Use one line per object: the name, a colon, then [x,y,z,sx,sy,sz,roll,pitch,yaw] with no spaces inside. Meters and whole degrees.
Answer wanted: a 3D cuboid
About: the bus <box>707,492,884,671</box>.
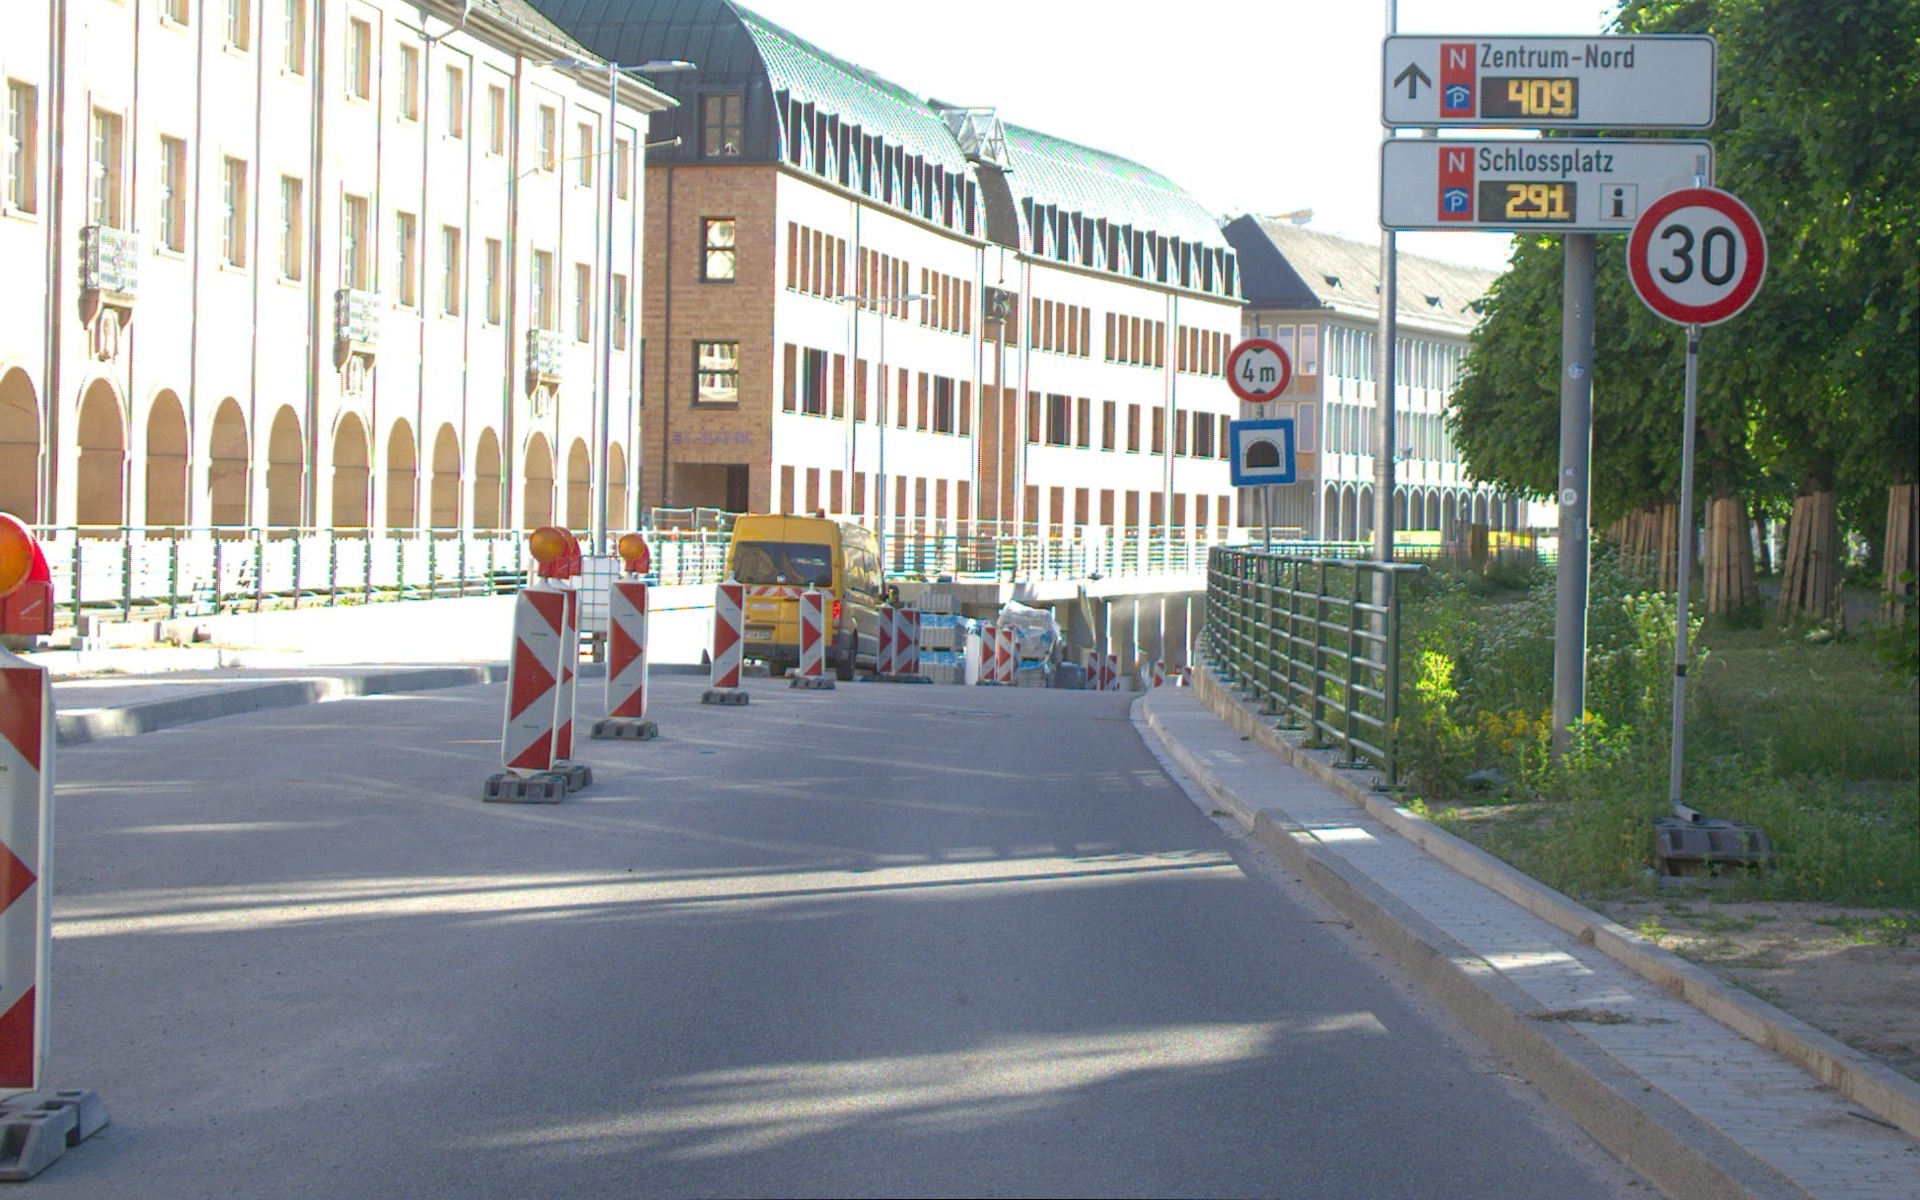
bus: [-2.562,-0.242,54.754,2.073,2.677,4.682,2,-1,6]
